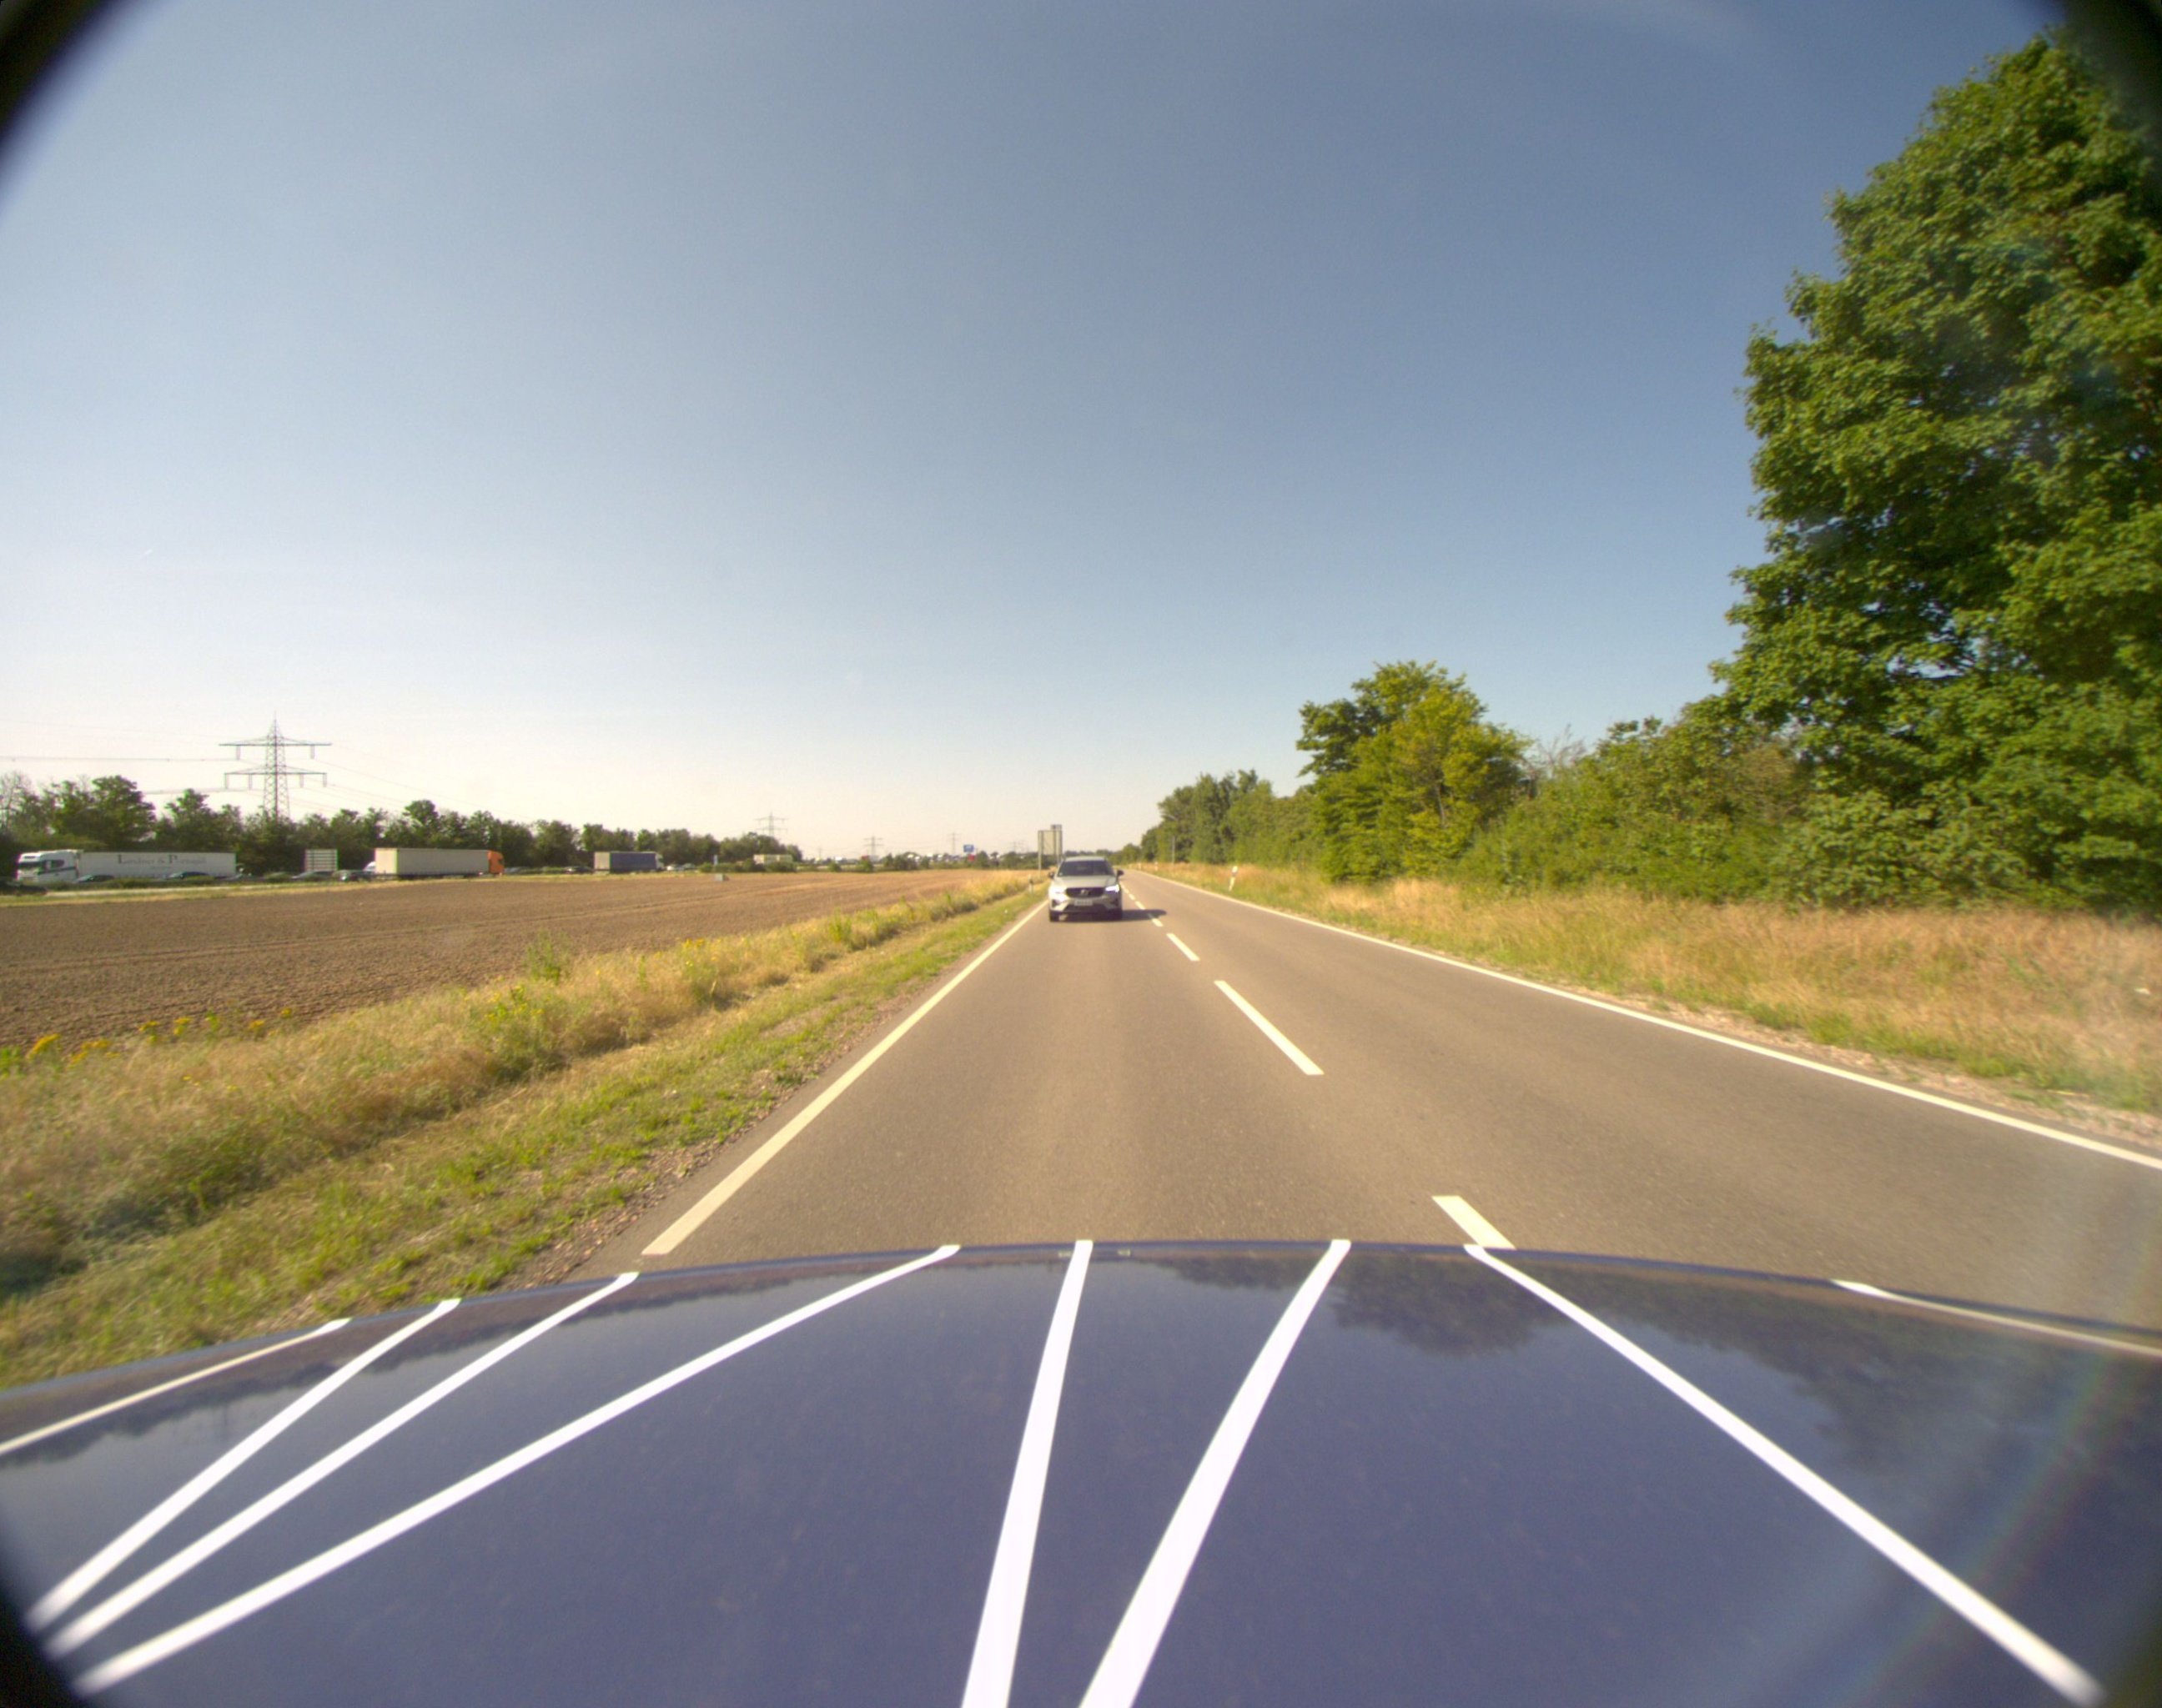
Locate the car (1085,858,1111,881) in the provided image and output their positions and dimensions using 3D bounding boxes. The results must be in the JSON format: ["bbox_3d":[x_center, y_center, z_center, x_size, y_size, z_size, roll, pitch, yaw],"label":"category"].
[{"bbox_3d":[1.248,1.106,56.352,1.840,1.627,4.136,-2,0,1],"label":"car"}]

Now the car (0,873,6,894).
[{"bbox_3d":[-82.074,2.217,55.279,1.707,1.534,4.197,-3,-1,1],"label":"car"}]

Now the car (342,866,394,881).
[{"bbox_3d":[-85.578,2.355,91.277,1.910,1.603,4.474,-3,0,3],"label":"car"}]

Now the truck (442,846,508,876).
[{"bbox_3d":[-81.812,0.969,102.707,3.111,3.826,6.951,-2,0,1],"label":"truck"}]

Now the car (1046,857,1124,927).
[{"bbox_3d":[0.152,0.928,20.513,1.840,1.627,4.136,-2,0,2],"label":"car"}]

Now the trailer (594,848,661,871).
[{"bbox_3d":[-80.186,0.965,134.892,3.079,3.780,14.591,-2,0,0],"label":"trailer"}]

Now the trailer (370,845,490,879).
[{"bbox_3d":[-81.955,0.959,96.328,3.111,3.826,13.720,-2,0,1],"label":"trailer"}]

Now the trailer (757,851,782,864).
[{"bbox_3d":[-78.859,0.869,192.541,2.800,3.395,8.718,-1,0,0],"label":"trailer"}]

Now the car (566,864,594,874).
[{"bbox_3d":[-85.289,2.526,129.479,1.998,1.566,3.894,-3,0,1],"label":"car"}]

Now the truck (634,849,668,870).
[{"bbox_3d":[-80.237,0.967,141.761,3.080,3.780,5.611,-2,0,0],"label":"truck"}]

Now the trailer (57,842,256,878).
[{"bbox_3d":[-100.249,0.619,83.219,3.210,3.510,15.083,0,0,1],"label":"trailer"}]

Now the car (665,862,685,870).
[{"bbox_3d":[-84.863,2.521,158.931,1.689,1.566,4.200,-3,0,1],"label":"car"}]

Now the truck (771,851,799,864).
[{"bbox_3d":[-78.795,0.874,202.455,2.813,3.457,11.121,-1,0,1],"label":"truck"}]

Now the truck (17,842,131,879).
[{"bbox_3d":[-100.320,0.607,75.893,3.210,3.510,6.109,0,0,1],"label":"truck"}]
